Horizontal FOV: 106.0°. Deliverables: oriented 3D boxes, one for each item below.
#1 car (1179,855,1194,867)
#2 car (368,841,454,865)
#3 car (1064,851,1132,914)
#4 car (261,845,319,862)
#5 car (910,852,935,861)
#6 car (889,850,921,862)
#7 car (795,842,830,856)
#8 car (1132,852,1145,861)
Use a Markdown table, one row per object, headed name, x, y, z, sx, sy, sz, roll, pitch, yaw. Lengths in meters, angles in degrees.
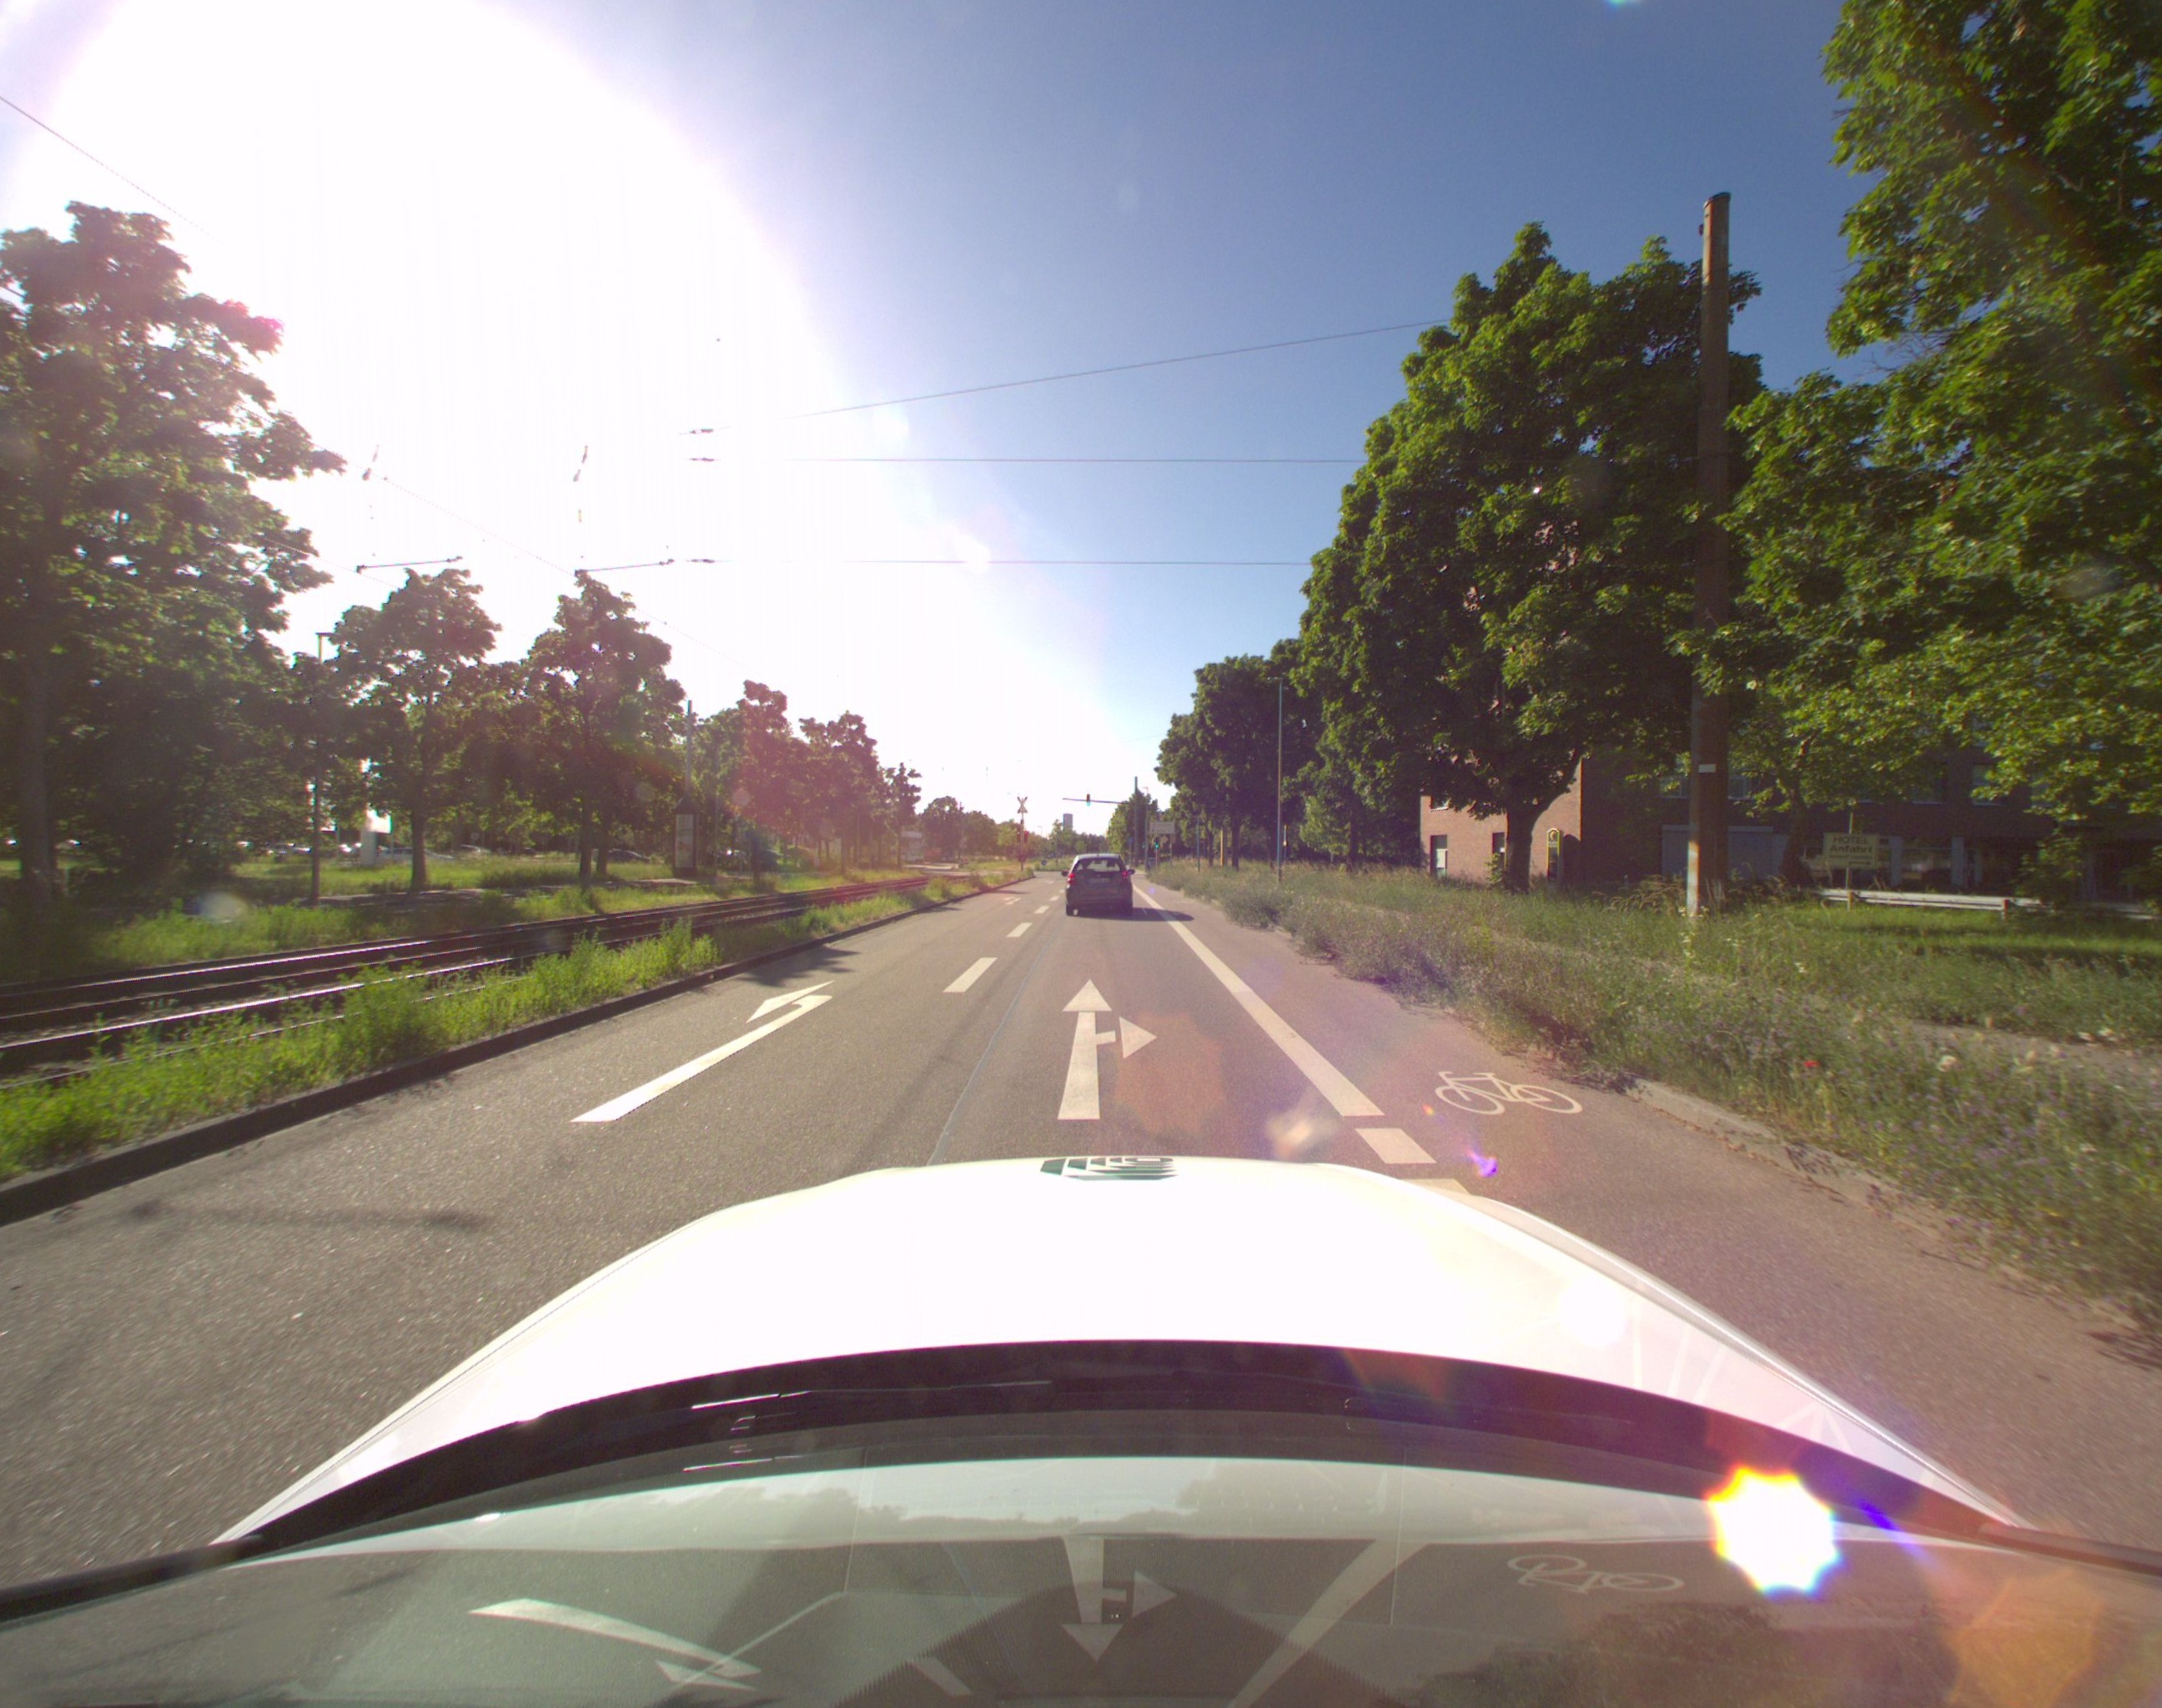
| name | x | y | z | sx | sy | sz | roll | pitch | yaw |
| --- | --- | --- | --- | --- | --- | --- | --- | --- | --- |
| car | 18.002 | 1.118 | 139.183 | 1.866 | 1.966 | 5.166 | 1 | 0 | 0 |
| car | -48.997 | -0.064 | 59.683 | 4.430 | 1.640 | 1.978 | 0 | 0 | -19 |
| car | 0.486 | 0.697 | 21.318 | 1.618 | 1.500 | 3.458 | -1 | 0 | 2 |
| car | -82.241 | -0.037 | 84.689 | 3.984 | 1.668 | 1.826 | 1 | 0 | -8 |
| car | -28.517 | 0.400 | 146.659 | 4.060 | 1.568 | 1.791 | 0 | 0 | -2 |
| car | -28.038 | 0.321 | 130.027 | 1.837 | 1.974 | 4.816 | 0 | 0 | 41 |
| car | -41.250 | -0.811 | 125.194 | 4.708 | 2.091 | 2.020 | 0 | 0 | -2 |
| car | 9.872 | 0.448 | 139.347 | 1.770 | 1.386 | 3.866 | 0 | 0 | -3 |
